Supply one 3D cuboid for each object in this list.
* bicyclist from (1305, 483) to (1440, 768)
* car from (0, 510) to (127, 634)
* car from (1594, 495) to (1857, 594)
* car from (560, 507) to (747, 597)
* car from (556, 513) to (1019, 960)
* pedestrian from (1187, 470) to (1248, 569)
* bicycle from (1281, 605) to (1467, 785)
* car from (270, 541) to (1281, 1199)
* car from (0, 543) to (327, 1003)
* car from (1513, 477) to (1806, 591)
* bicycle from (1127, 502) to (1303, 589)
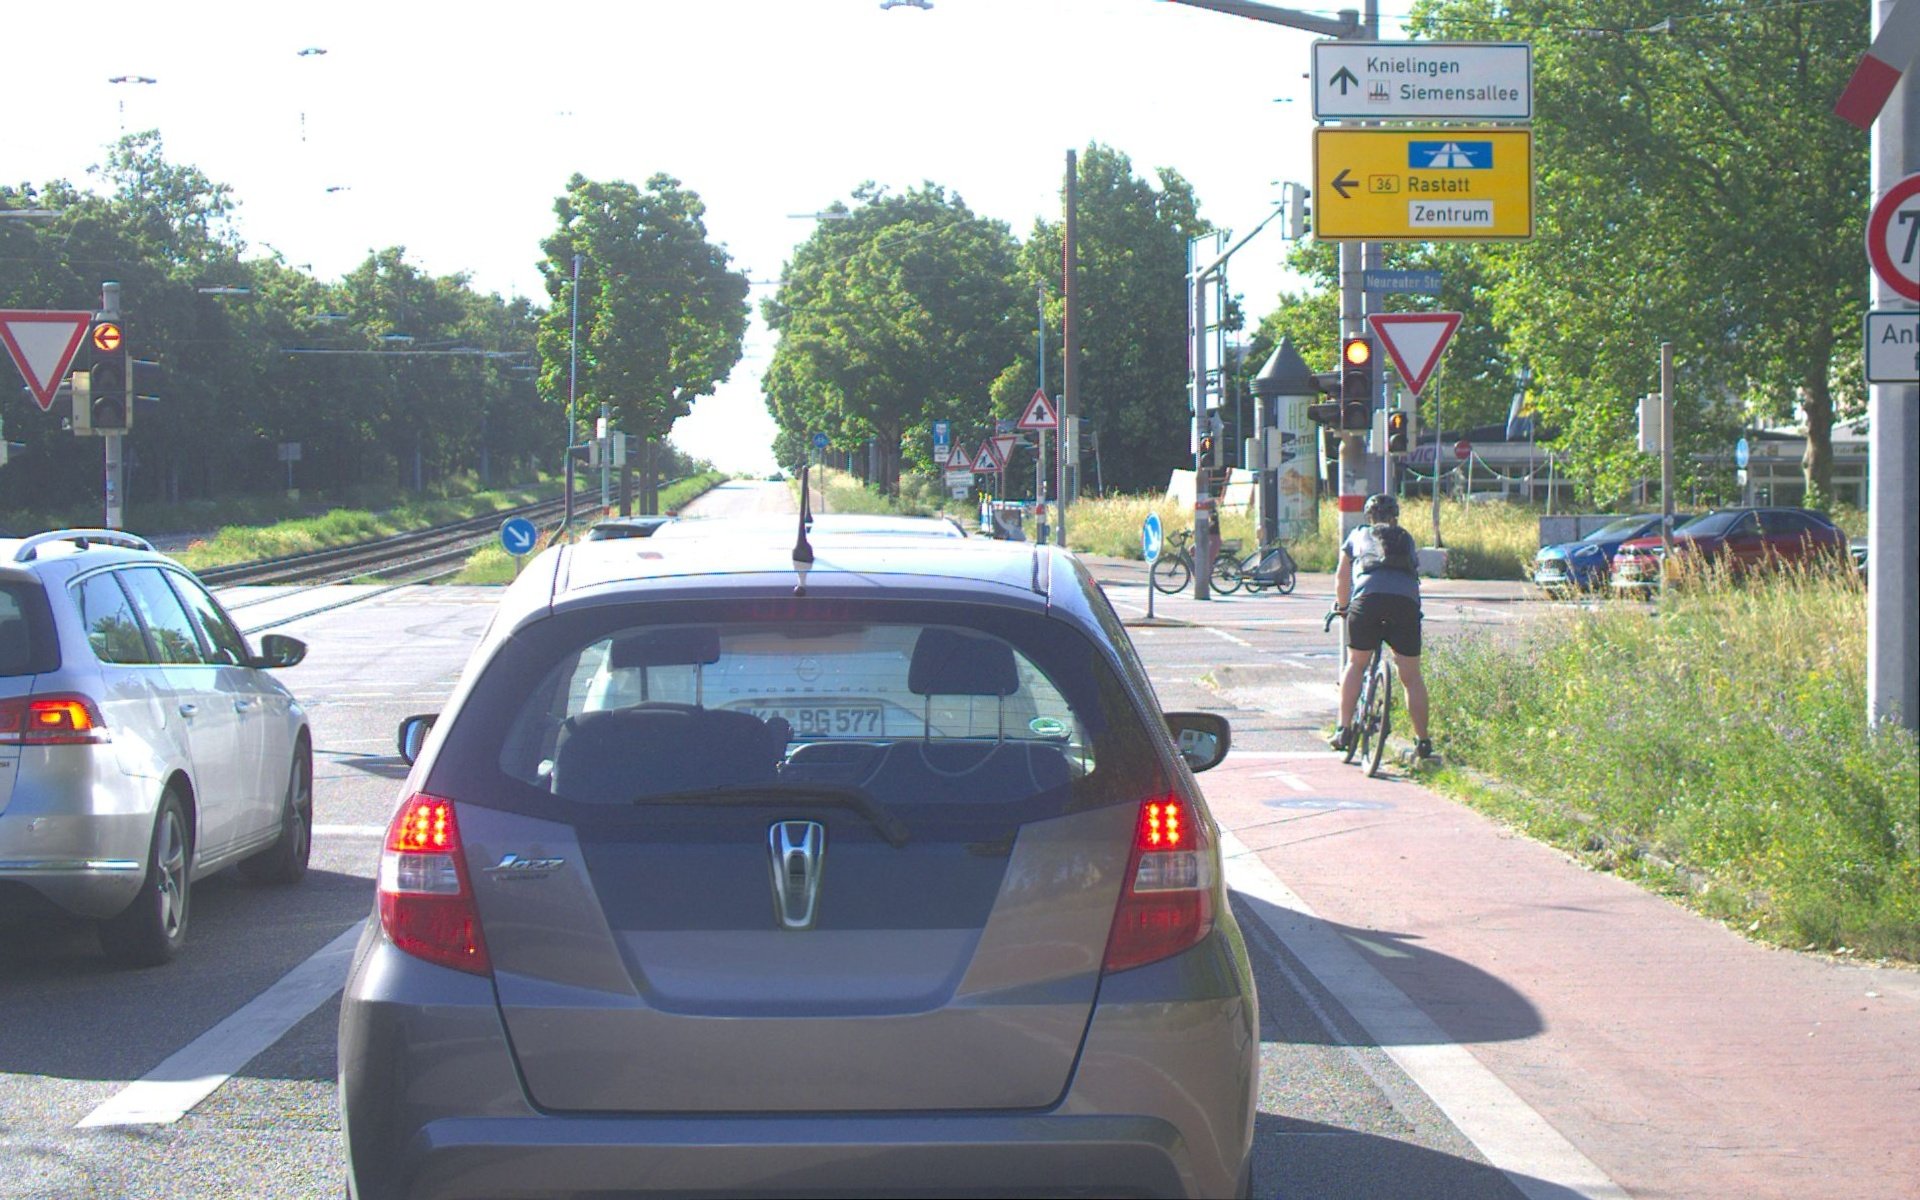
[{"bbox_3d":[2.544,0.148,21.281,0.666,1.710,0.948,1,1,-1],"label":"bicyclist"},{"bbox_3d":[-12.308,-0.334,41.591,3.989,1.473,1.714,-2,2,-42],"label":"car"},{"bbox_3d":[12.478,-0.920,56.035,3.986,1.525,1.606,-1,2,-23],"label":"car"},{"bbox_3d":[-4.818,-0.772,54.537,1.524,1.374,3.672,0,1,20],"label":"car"},{"bbox_3d":[-0.645,0.433,14.113,1.611,1.557,4.288,0,1,-1],"label":"car"},{"bbox_3d":[4.778,-1.495,63.758,0.852,1.830,0.791,-1,1,-22],"label":"pedestrian"},{"bbox_3d":[2.533,0.552,21.367,0.722,0.985,2.876,1,1,-1],"label":"bicycle"},{"bbox_3d":[-0.391,0.610,7.479,1.668,1.457,3.587,0,1,-3],"label":"car"},{"bbox_3d":[-3.529,0.514,12.896,1.619,1.452,4.085,1,1,-1],"label":"car"},{"bbox_3d":[12.284,-1.143,60.367,4.686,1.873,2.001,1,1,-23],"label":"car"},{"bbox_3d":[4.743,-1.021,63.790,3.203,1.569,0.821,-1,1,-21],"label":"bicycle"}]
